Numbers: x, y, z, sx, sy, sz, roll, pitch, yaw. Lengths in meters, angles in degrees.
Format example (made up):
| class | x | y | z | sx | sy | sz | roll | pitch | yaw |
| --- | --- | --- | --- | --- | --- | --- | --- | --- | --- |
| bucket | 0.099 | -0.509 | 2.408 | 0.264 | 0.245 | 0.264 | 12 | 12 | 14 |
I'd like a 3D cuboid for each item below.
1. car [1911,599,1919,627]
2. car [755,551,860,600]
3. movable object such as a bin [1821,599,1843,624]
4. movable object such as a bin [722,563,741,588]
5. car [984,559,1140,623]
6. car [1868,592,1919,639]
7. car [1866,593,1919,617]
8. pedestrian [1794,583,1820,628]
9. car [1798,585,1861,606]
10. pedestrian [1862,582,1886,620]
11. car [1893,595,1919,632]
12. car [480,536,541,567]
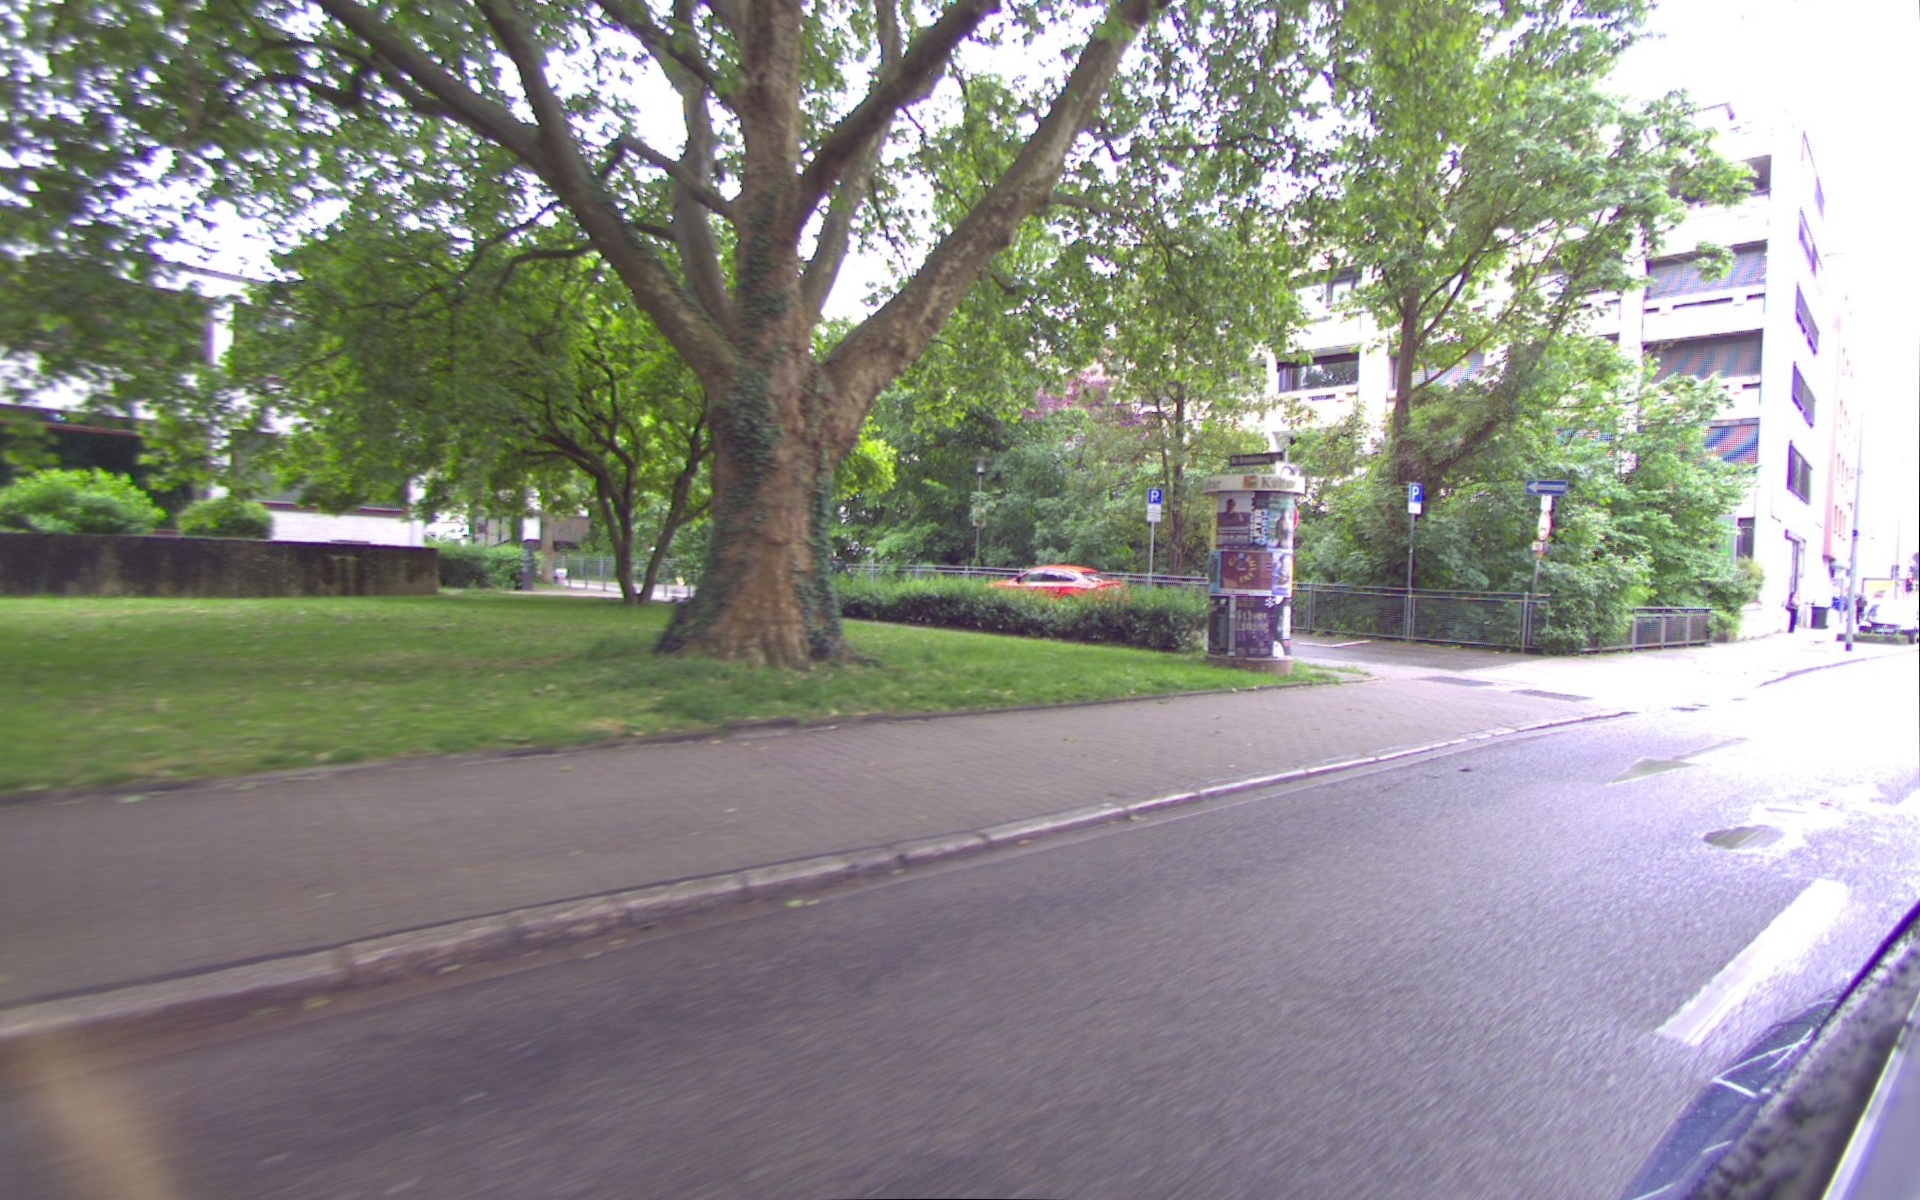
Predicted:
| class | x | y | z | sx | sy | sz | roll | pitch | yaw |
| --- | --- | --- | --- | --- | --- | --- | --- | --- | --- |
| car | 57.158 | 0.774 | 57.899 | 3.987 | 1.588 | 1.730 | 0 | 0 | 44 |
| car | -5.537 | -0.894 | 36.455 | 1.707 | 1.590 | 3.925 | 0 | 3 | -45 |
| movable object such as a bin | 39.879 | 0.535 | 46.298 | 0.505 | 1.117 | 0.680 | 1 | 2 | -42 |
| movable object such as a bin | -9.307 | -1.005 | 41.255 | 0.573 | 0.986 | 0.512 | 0 | -1 | -40 |
| car | 2.755 | -0.308 | 27.825 | 3.989 | 1.499 | 1.847 | 5 | 4 | 44 |
| car | 35.339 | 0.554 | 37.801 | 3.740 | 1.577 | 1.705 | 0 | 3 | -43 |
| car | 62.865 | 0.342 | 66.549 | 1.726 | 1.588 | 4.687 | 1 | 0 | -39 |
| pedestrian | 32.669 | 0.214 | 39.029 | 0.598 | 1.679 | 0.681 | 7 | 4 | 42 |
| car | 77.691 | -0.390 | 90.501 | 1.801 | 1.732 | 3.800 | 1 | 2 | -21 |
| pedestrian | 54.452 | 0.057 | 60.320 | 0.797 | 2.180 | 0.732 | 2 | 1 | 26 |
| car | 40.451 | 0.589 | 42.209 | 4.492 | 1.437 | 1.834 | 0 | 3 | -43 |
| car | -24.957 | -2.723 | 56.132 | 3.923 | 1.590 | 1.708 | 4 | 3 | 44 |
